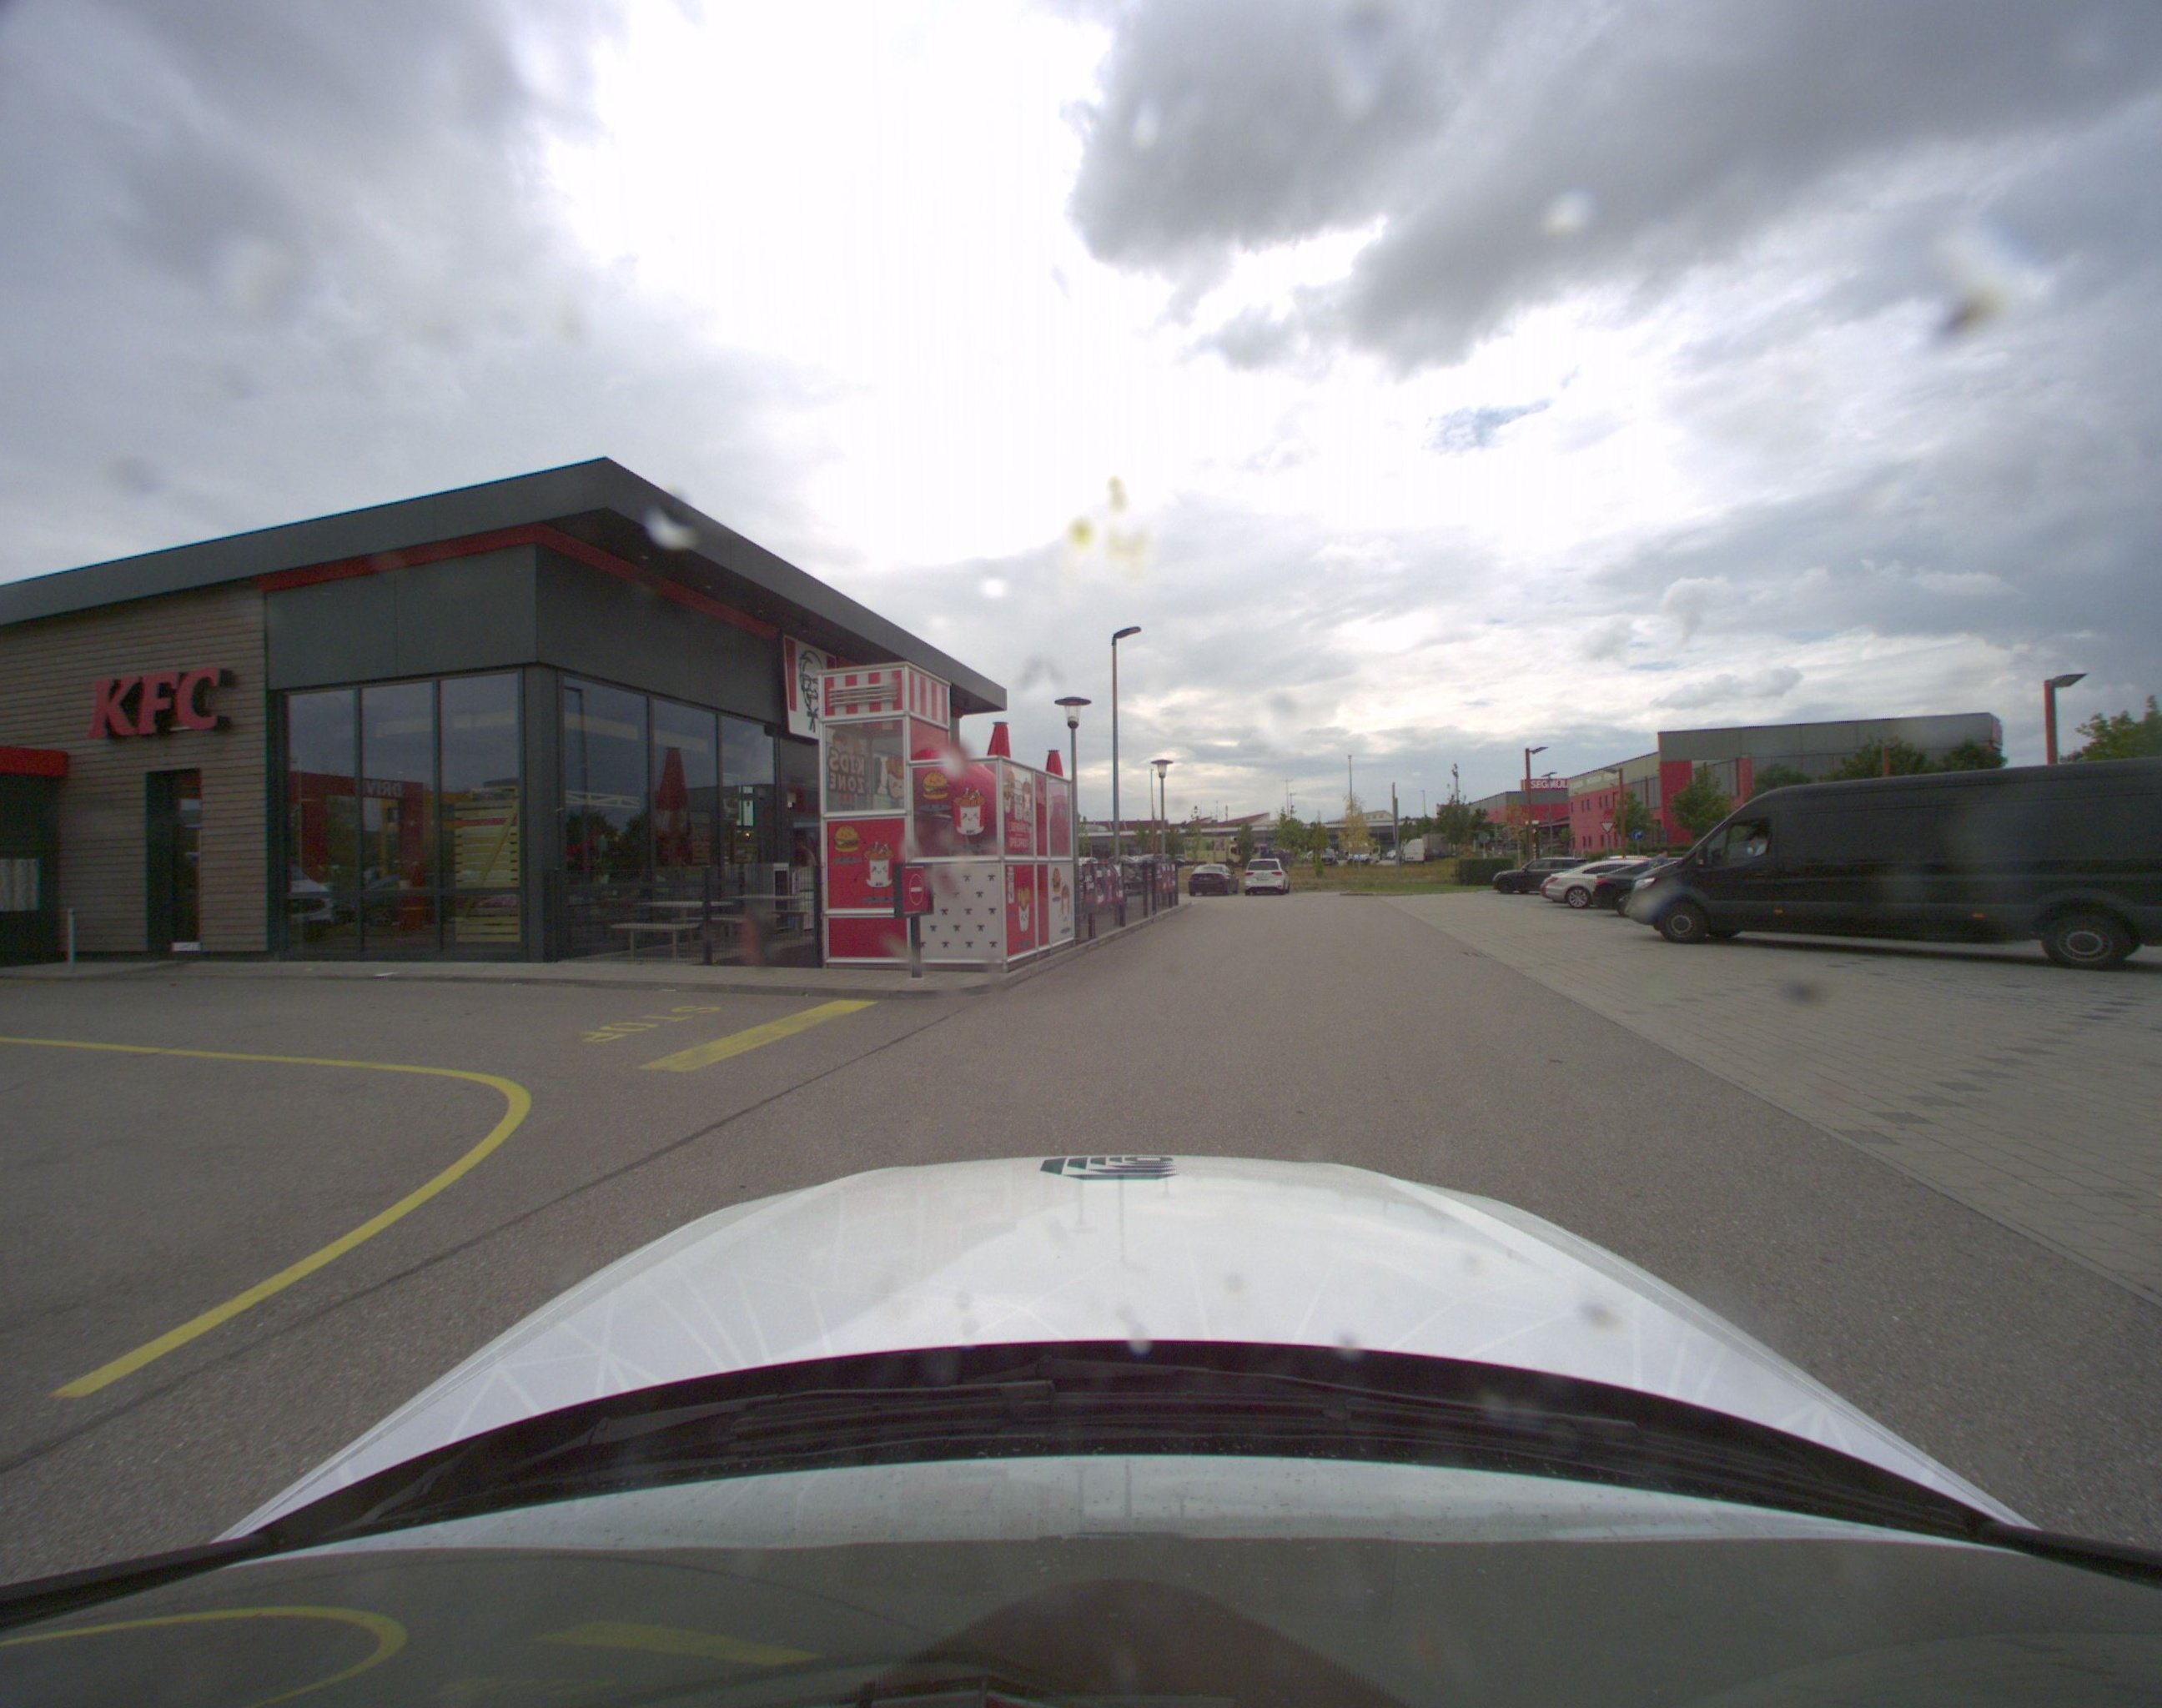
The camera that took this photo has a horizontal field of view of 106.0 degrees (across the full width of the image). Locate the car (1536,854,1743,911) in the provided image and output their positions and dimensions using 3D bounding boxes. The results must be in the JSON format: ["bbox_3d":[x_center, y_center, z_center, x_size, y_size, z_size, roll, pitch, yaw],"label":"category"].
[{"bbox_3d":[15.393,0.729,22.687,1.760,1.412,4.412,0,0,-34],"label":"car"}]

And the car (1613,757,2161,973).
[{"bbox_3d":[12.297,0.140,12.256,2.081,2.553,6.940,0,0,-33],"label":"car"}]

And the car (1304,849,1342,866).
[{"bbox_3d":[27.231,0.366,91.639,3.956,1.738,1.899,-2,1,16],"label":"car"}]

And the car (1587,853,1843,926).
[{"bbox_3d":[14.494,0.738,18.894,1.693,1.463,4.362,0,0,-33],"label":"car"}]

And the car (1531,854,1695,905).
[{"bbox_3d":[16.558,0.755,25.498,1.695,1.464,3.956,0,0,-36],"label":"car"}]

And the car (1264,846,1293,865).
[{"bbox_3d":[20.206,0.184,83.113,2.053,1.884,5.097,-1,-1,23],"label":"car"}]

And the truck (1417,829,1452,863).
[{"bbox_3d":[42.230,-0.997,97.575,2.628,3.743,8.292,-2,1,16],"label":"truck"}]

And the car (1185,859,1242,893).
[{"bbox_3d":[6.352,1.059,38.668,1.925,1.467,4.537,-1,-2,19],"label":"car"}]

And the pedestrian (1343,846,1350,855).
[{"bbox_3d":[44.758,-0.573,137.308,0.653,1.429,0.793,-2,1,-20],"label":"pedestrian"}]

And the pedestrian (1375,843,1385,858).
[{"bbox_3d":[28.669,-0.318,78.103,0.779,1.429,0.982,-2,1,15],"label":"pedestrian"}]

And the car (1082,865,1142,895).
[{"bbox_3d":[1.592,1.298,40.293,1.867,1.412,4.089,-1,-2,19],"label":"car"}]

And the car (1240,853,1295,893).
[{"bbox_3d":[8.728,0.912,37.884,1.969,1.713,4.393,-1,-2,19],"label":"car"}]

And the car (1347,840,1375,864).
[{"bbox_3d":[27.495,-0.250,80.149,2.389,2.214,6.087,-1,1,17],"label":"car"}]

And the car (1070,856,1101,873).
[{"bbox_3d":[0.525,1.214,93.344,1.976,1.771,4.345,-2,1,22],"label":"car"}]

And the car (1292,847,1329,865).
[{"bbox_3d":[27.104,0.244,96.147,3.963,2.013,2.006,-2,1,9],"label":"car"}]

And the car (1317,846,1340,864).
[{"bbox_3d":[24.574,0.079,80.761,2.055,1.638,5.093,-1,1,17],"label":"car"}]

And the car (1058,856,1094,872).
[{"bbox_3d":[-0.658,1.200,99.754,3.948,1.771,2.013,-1,1,39],"label":"car"}]

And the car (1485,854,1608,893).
[{"bbox_3d":[18.330,0.741,32.197,1.695,1.412,3.887,0,0,-36],"label":"car"}]

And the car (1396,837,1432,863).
[{"bbox_3d":[32.096,-0.429,78.696,2.321,2.267,6.533,-2,1,15],"label":"car"}]

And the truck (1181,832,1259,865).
[{"bbox_3d":[14.470,-0.565,85.678,3.042,3.196,8.340,-3,1,-35],"label":"truck"}]

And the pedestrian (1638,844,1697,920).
[{"bbox_3d":[13.273,0.630,18.433,0.752,1.678,0.834,1,-2,-32],"label":"pedestrian"}]
